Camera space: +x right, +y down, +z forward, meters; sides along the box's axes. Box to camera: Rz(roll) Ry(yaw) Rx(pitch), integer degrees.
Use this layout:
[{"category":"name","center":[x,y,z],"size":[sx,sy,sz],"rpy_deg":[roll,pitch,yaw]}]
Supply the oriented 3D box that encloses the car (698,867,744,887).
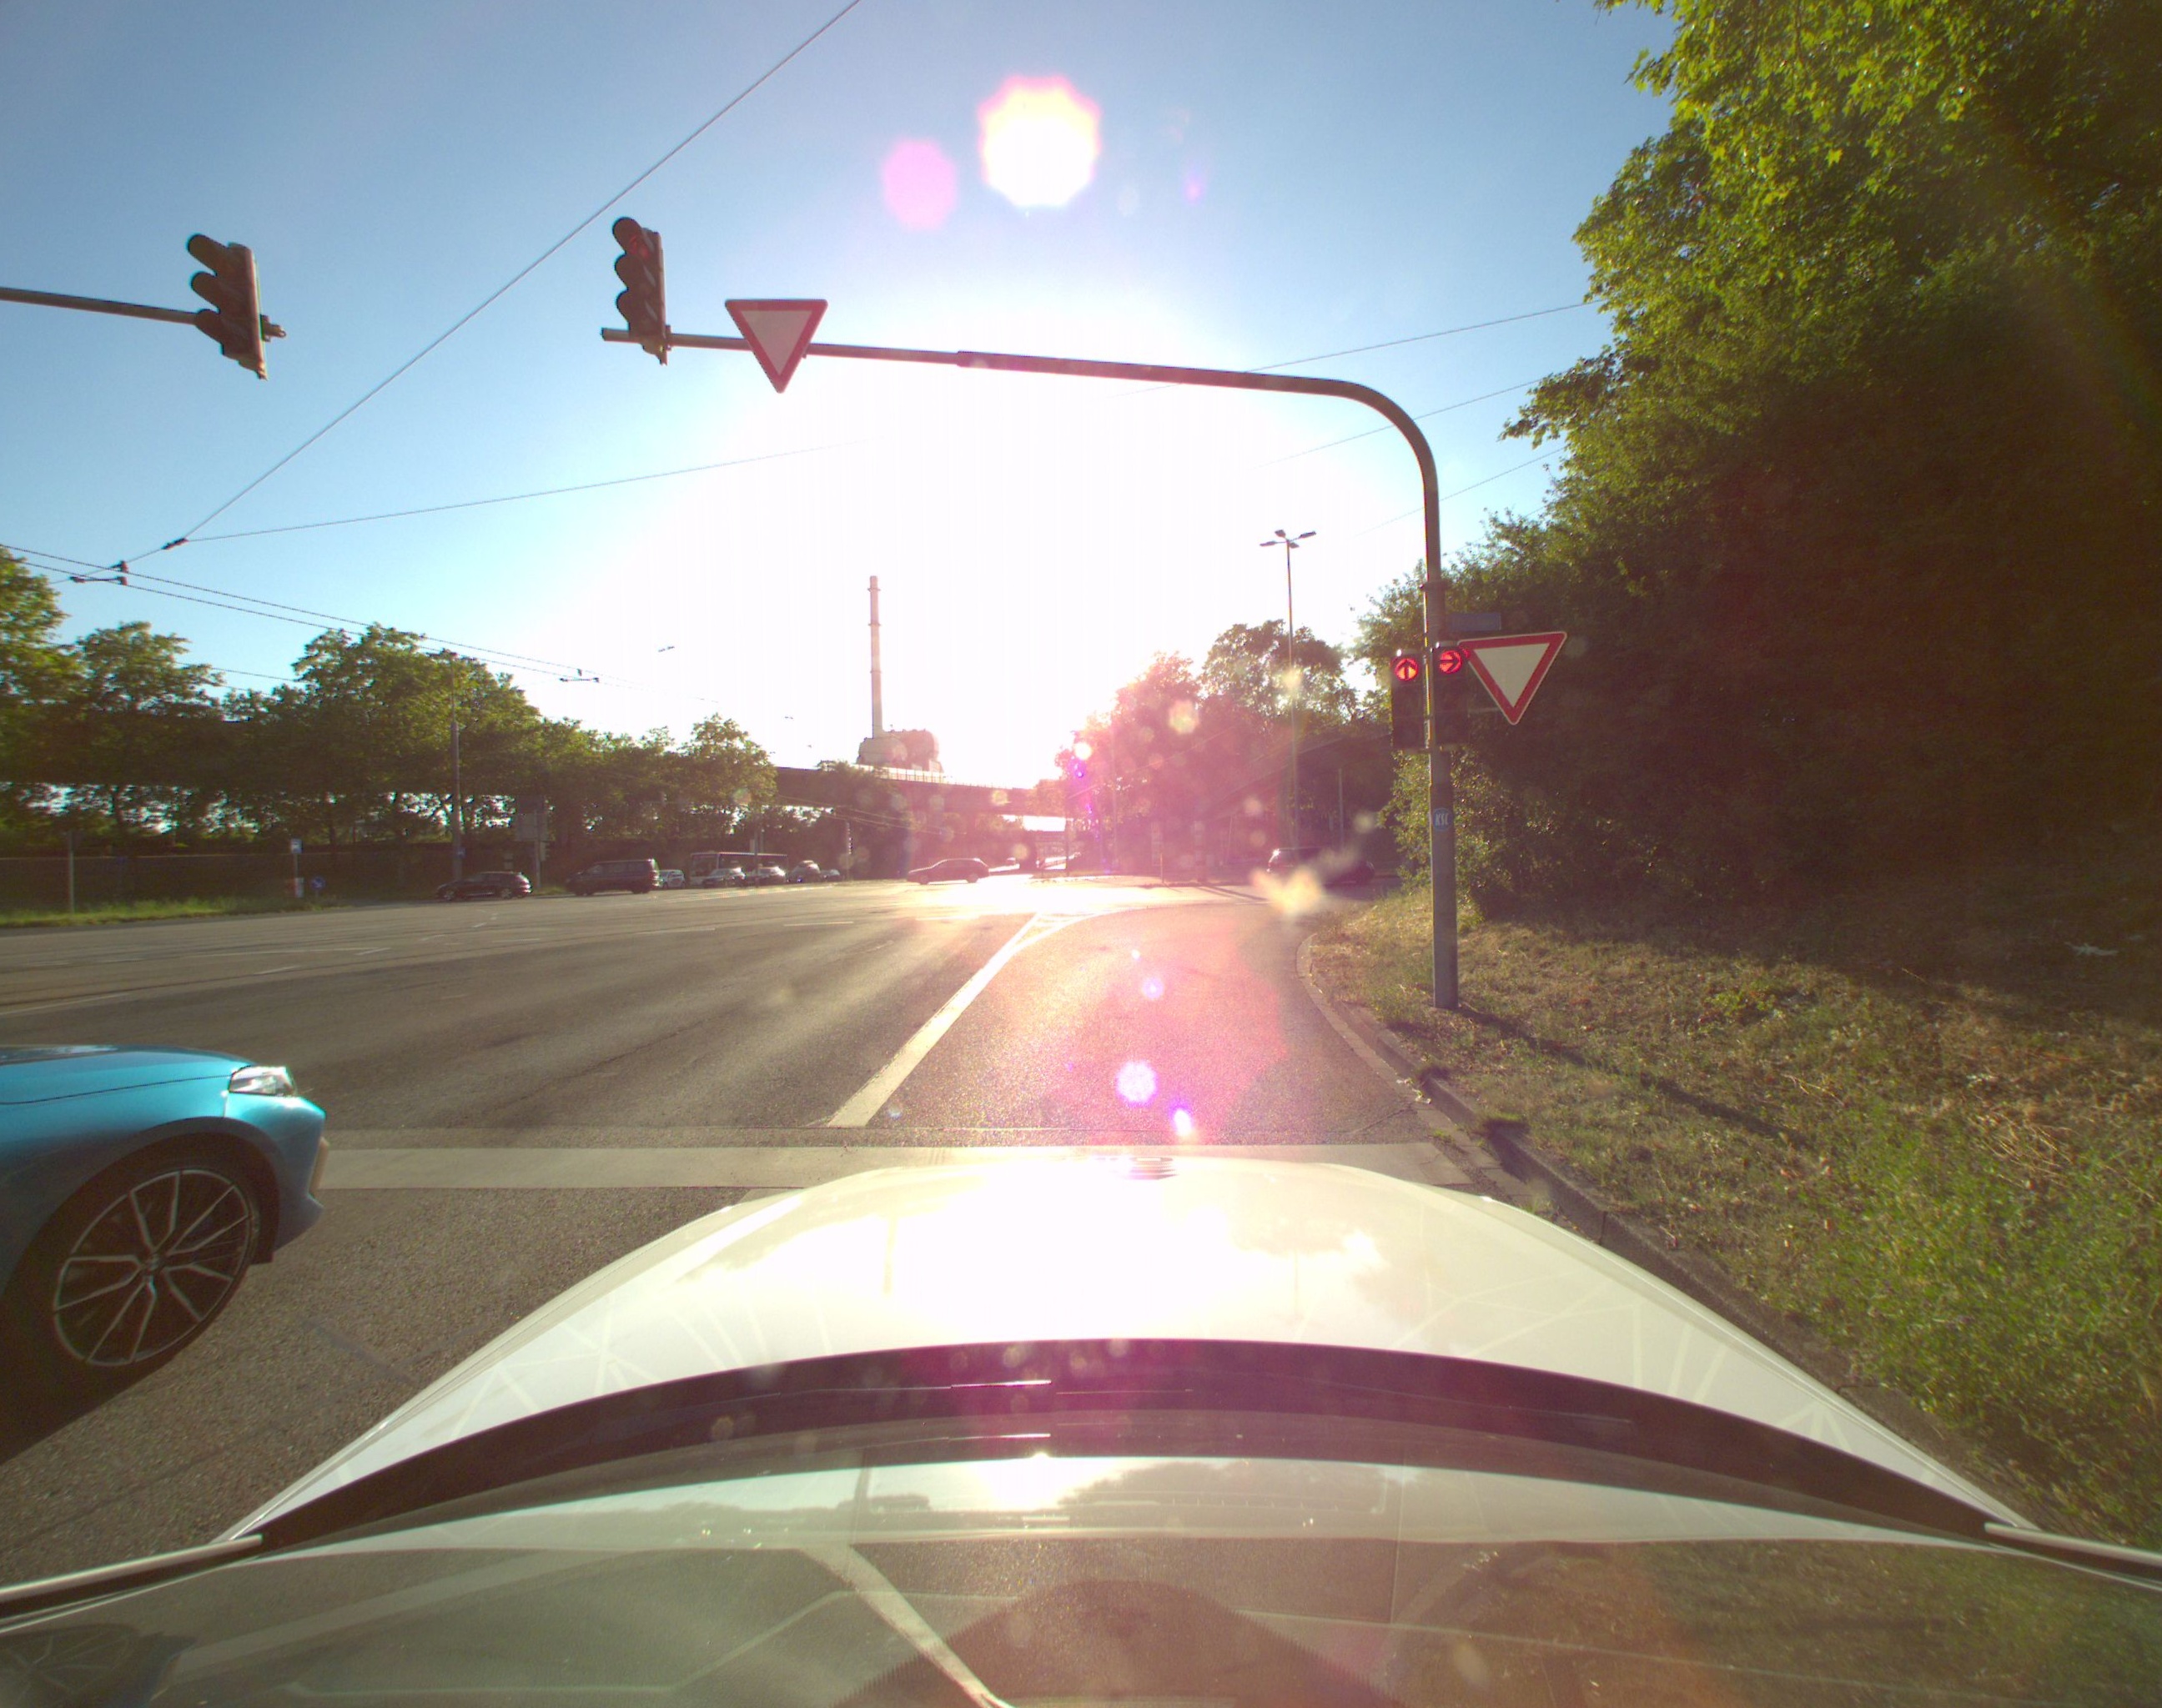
[{"category":"car","center":[-26.362,1.666,59.727],"size":[1.599,1.354,3.999],"rpy_deg":[-1,0,0]}]

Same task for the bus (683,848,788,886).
[{"category":"bus","center":[-29.543,1.052,70.664],"size":[2.810,2.954,12.866],"rpy_deg":[-1,0,4]}]

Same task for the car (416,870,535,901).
[{"category":"car","center":[-31.514,1.603,42.516],"size":[4.515,1.454,1.995],"rpy_deg":[-1,0,-7]}]

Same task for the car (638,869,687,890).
[{"category":"car","center":[-30.103,1.829,58.691],"size":[1.599,1.354,3.734],"rpy_deg":[-1,0,0]}]

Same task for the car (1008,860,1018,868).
[{"category":"car","center":[-16.339,2.389,196.344],"size":[1.703,1.652,4.101],"rpy_deg":[-1,0,5]}]

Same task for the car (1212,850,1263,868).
[{"category":"car","center":[13.010,0.393,67.561],"size":[4.110,1.422,1.702],"rpy_deg":[-1,0,12]}]

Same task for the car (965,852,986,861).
[{"category":"car","center":[-21.462,0.561,165.621],"size":[1.974,1.771,4.025],"rpy_deg":[-1,-1,34]}]

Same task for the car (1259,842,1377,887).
[{"category":"car","center":[8.720,0.373,29.994],"size":[3.917,1.517,1.723],"rpy_deg":[-1,0,-20]}]

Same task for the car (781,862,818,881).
[{"category":"car","center":[-25.463,1.582,73.743],"size":[1.704,1.652,4.097],"rpy_deg":[-1,0,2]}]

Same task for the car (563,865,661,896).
[{"category":"car","center":[-27.150,1.493,47.344],"size":[4.528,1.623,1.990],"rpy_deg":[-1,0,-15]}]

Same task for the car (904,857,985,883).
[{"category":"car","center":[-8.080,0.926,48.139],"size":[4.530,1.454,1.989],"rpy_deg":[-1,0,-17]}]

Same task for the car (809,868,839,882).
[{"category":"car","center":[-27.774,2.263,88.118],"size":[1.693,1.442,4.002],"rpy_deg":[-1,0,2]}]

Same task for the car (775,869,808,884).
[{"category":"car","center":[-28.894,2.219,81.367],"size":[1.693,1.442,4.002],"rpy_deg":[-1,0,2]}]

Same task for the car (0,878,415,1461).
[{"category":"car","center":[-3.577,0.815,1.033],"size":[1.779,1.417,4.511],"rpy_deg":[-1,0,-1]}]

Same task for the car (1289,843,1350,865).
[{"category":"car","center":[16.319,0.005,55.814],"size":[3.730,1.422,1.687],"rpy_deg":[-1,0,-17]}]

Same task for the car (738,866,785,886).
[{"category":"car","center":[-23.527,1.589,60.102],"size":[1.704,1.354,4.097],"rpy_deg":[-1,0,2]}]
